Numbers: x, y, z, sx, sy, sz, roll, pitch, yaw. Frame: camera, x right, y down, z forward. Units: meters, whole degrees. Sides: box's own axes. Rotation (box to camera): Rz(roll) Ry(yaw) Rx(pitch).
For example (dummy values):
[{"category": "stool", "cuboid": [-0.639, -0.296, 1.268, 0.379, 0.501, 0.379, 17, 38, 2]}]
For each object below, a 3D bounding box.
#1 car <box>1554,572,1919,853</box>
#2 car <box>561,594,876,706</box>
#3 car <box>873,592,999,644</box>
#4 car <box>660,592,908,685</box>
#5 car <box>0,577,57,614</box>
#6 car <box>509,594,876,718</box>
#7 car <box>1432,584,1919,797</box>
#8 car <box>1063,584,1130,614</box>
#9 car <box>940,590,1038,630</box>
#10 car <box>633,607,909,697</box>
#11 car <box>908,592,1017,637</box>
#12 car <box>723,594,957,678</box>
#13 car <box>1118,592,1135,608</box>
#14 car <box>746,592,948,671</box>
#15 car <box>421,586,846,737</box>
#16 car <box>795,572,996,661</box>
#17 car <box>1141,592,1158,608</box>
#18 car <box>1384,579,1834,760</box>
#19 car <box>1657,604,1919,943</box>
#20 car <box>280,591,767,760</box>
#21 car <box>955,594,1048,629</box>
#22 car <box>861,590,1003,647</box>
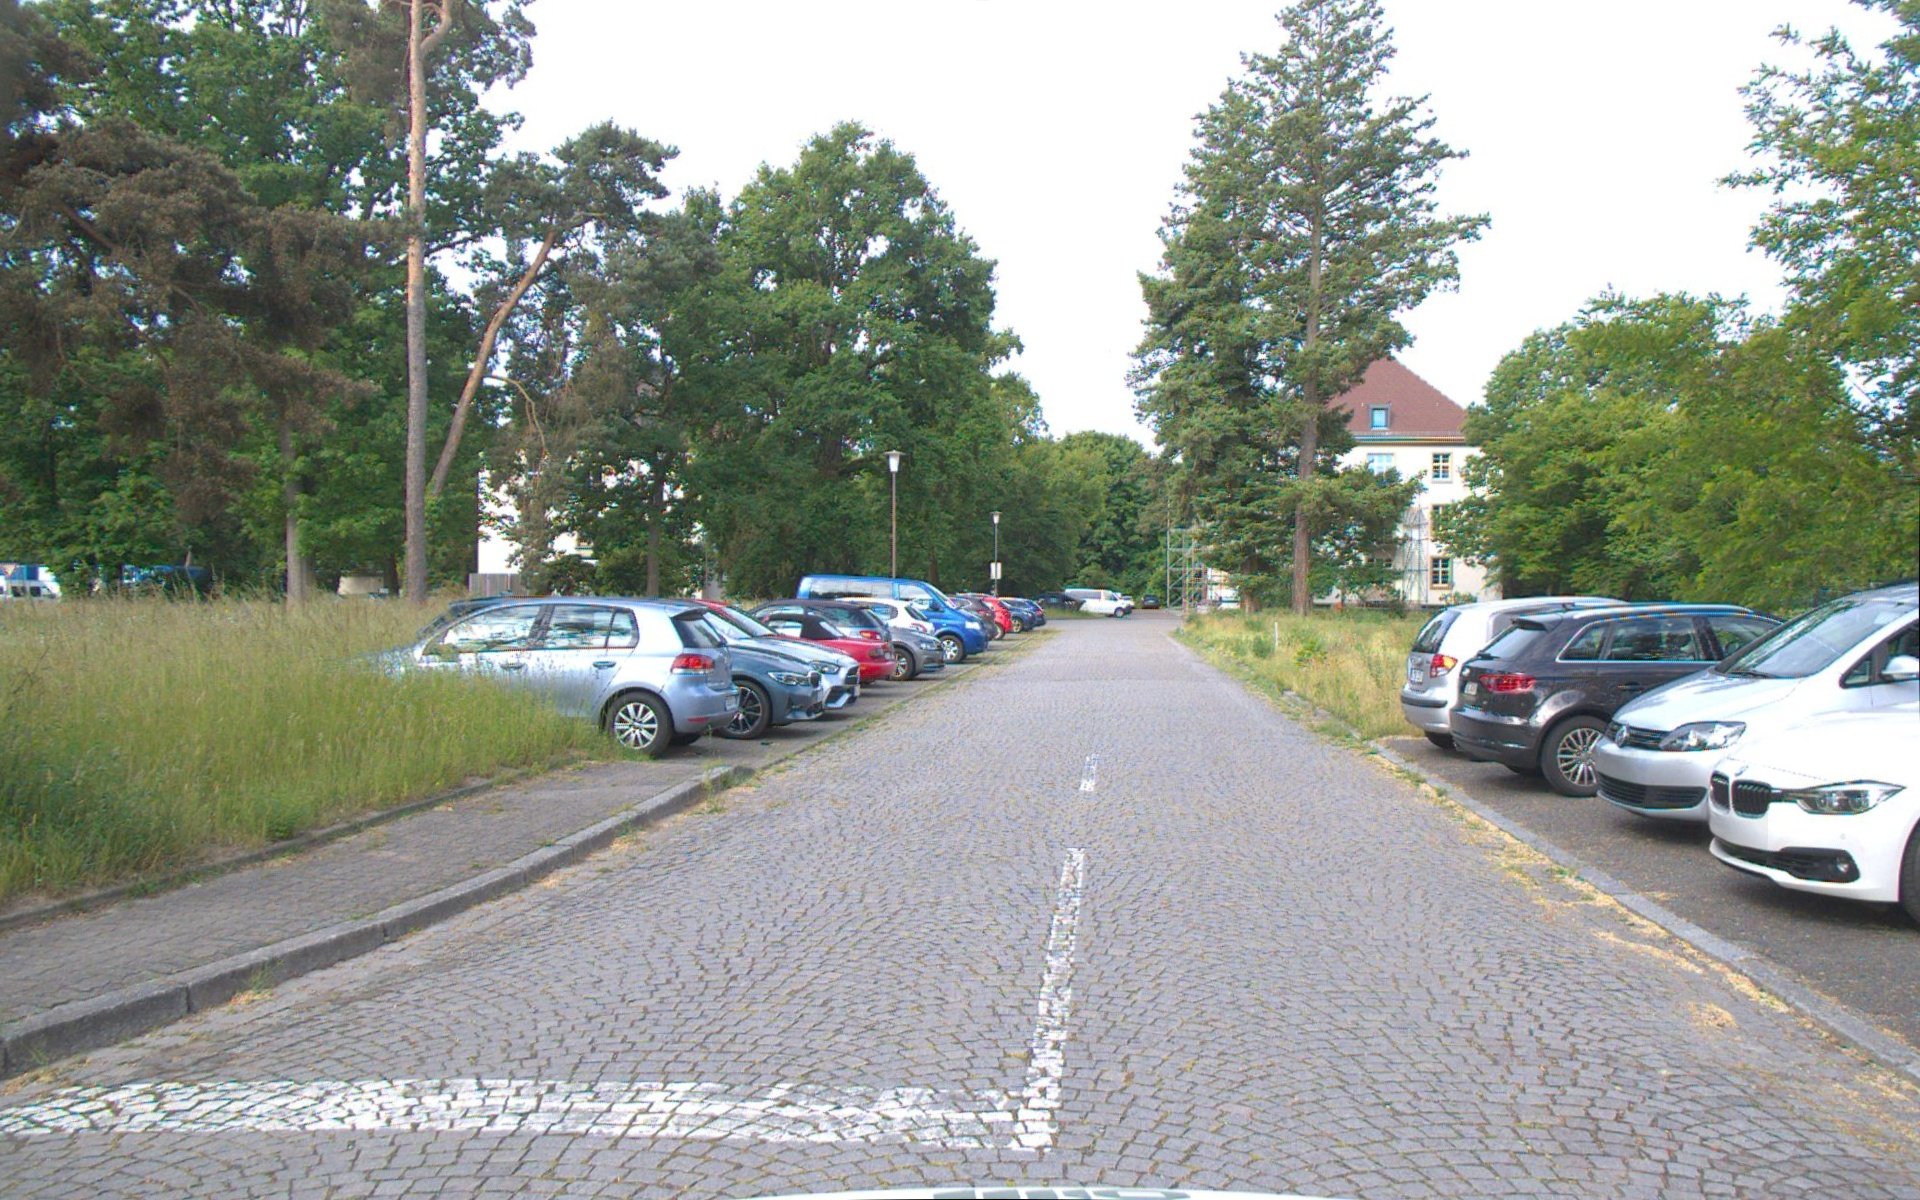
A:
[{"category": "car", "cuboid": [6.339, 0.620, 10.762, 4.240, 1.602, 1.827, -2, 0, 0]}, {"category": "car", "cuboid": [-3.416, 0.683, 23.895, 4.164, 1.480, 1.856, 1, 0, 5]}, {"category": "car", "cuboid": [-0.730, 0.544, 51.555, 3.735, 1.512, 1.762, 1, 0, 5]}, {"category": "car", "cuboid": [-3.030, 0.635, 28.949, 4.001, 1.506, 1.756, 1, 0, 7]}, {"category": "car", "cuboid": [-58.037, -0.242, 102.028, 2.018, 2.132, 4.347, -1, -1, 5]}, {"category": "car", "cuboid": [-3.403, 0.694, 21.573, 4.342, 1.481, 1.951, 1, 0, 6]}, {"category": "car", "cuboid": [6.235, 0.685, 13.472, 4.274, 1.430, 1.797, -3, 1, 4]}, {"category": "car", "cuboid": [10.093, -0.079, 122.344, 4.873, 2.109, 2.053, 1, -1, 4]}, {"category": "car", "cuboid": [1.233, 0.407, 69.239, 3.986, 1.632, 1.788, 1, 0, 4]}, {"category": "car", "cuboid": [-2.944, 0.796, 26.245, 4.044, 1.305, 1.765, 1, 0, 5]}, {"category": "car", "cuboid": [0.105, 0.516, 59.042, 3.735, 1.515, 1.789, 1, 0, 4]}, {"category": "car", "cuboid": [-2.261, 0.666, 31.774, 4.213, 1.506, 1.732, 1, 0, 7]}, {"category": "car", "cuboid": [18.900, 0.033, 187.890, 1.752, 1.665, 4.063, 0, -1, 4]}, {"category": "car", "cuboid": [-2.326, 0.636, 34.660, 3.920, 1.528, 1.844, 1, 0, 7]}, {"category": "car", "cuboid": [-3.621, 0.669, 18.894, 4.407, 1.564, 1.871, 1, 0, 2]}, {"category": "car", "cuboid": [-1.501, 0.372, 39.909, 4.610, 2.015, 2.039, 1, 0, 5]}, {"category": "car", "cuboid": [21.488, -0.001, 187.966, 1.752, 1.750, 4.063, 0, -1, 4]}, {"category": "car", "cuboid": [6.225, 0.642, 16.189, 3.693, 1.505, 1.744, -3, 1, 3]}, {"category": "car", "cuboid": [6.087, 0.710, 8.195, 4.455, 1.450, 1.827, -2, 0, 2]}, {"category": "car", "cuboid": [-4.207, 0.696, 16.308, 4.237, 1.496, 1.828, 1, 0, 7]}, {"category": "car", "cuboid": [1.871, 0.500, 73.899, 3.984, 1.493, 1.627, 1, 0, 9]}, {"category": "car", "cuboid": [-0.789, 0.529, 48.759, 3.982, 1.602, 1.955, 1, 0, 4]}]
